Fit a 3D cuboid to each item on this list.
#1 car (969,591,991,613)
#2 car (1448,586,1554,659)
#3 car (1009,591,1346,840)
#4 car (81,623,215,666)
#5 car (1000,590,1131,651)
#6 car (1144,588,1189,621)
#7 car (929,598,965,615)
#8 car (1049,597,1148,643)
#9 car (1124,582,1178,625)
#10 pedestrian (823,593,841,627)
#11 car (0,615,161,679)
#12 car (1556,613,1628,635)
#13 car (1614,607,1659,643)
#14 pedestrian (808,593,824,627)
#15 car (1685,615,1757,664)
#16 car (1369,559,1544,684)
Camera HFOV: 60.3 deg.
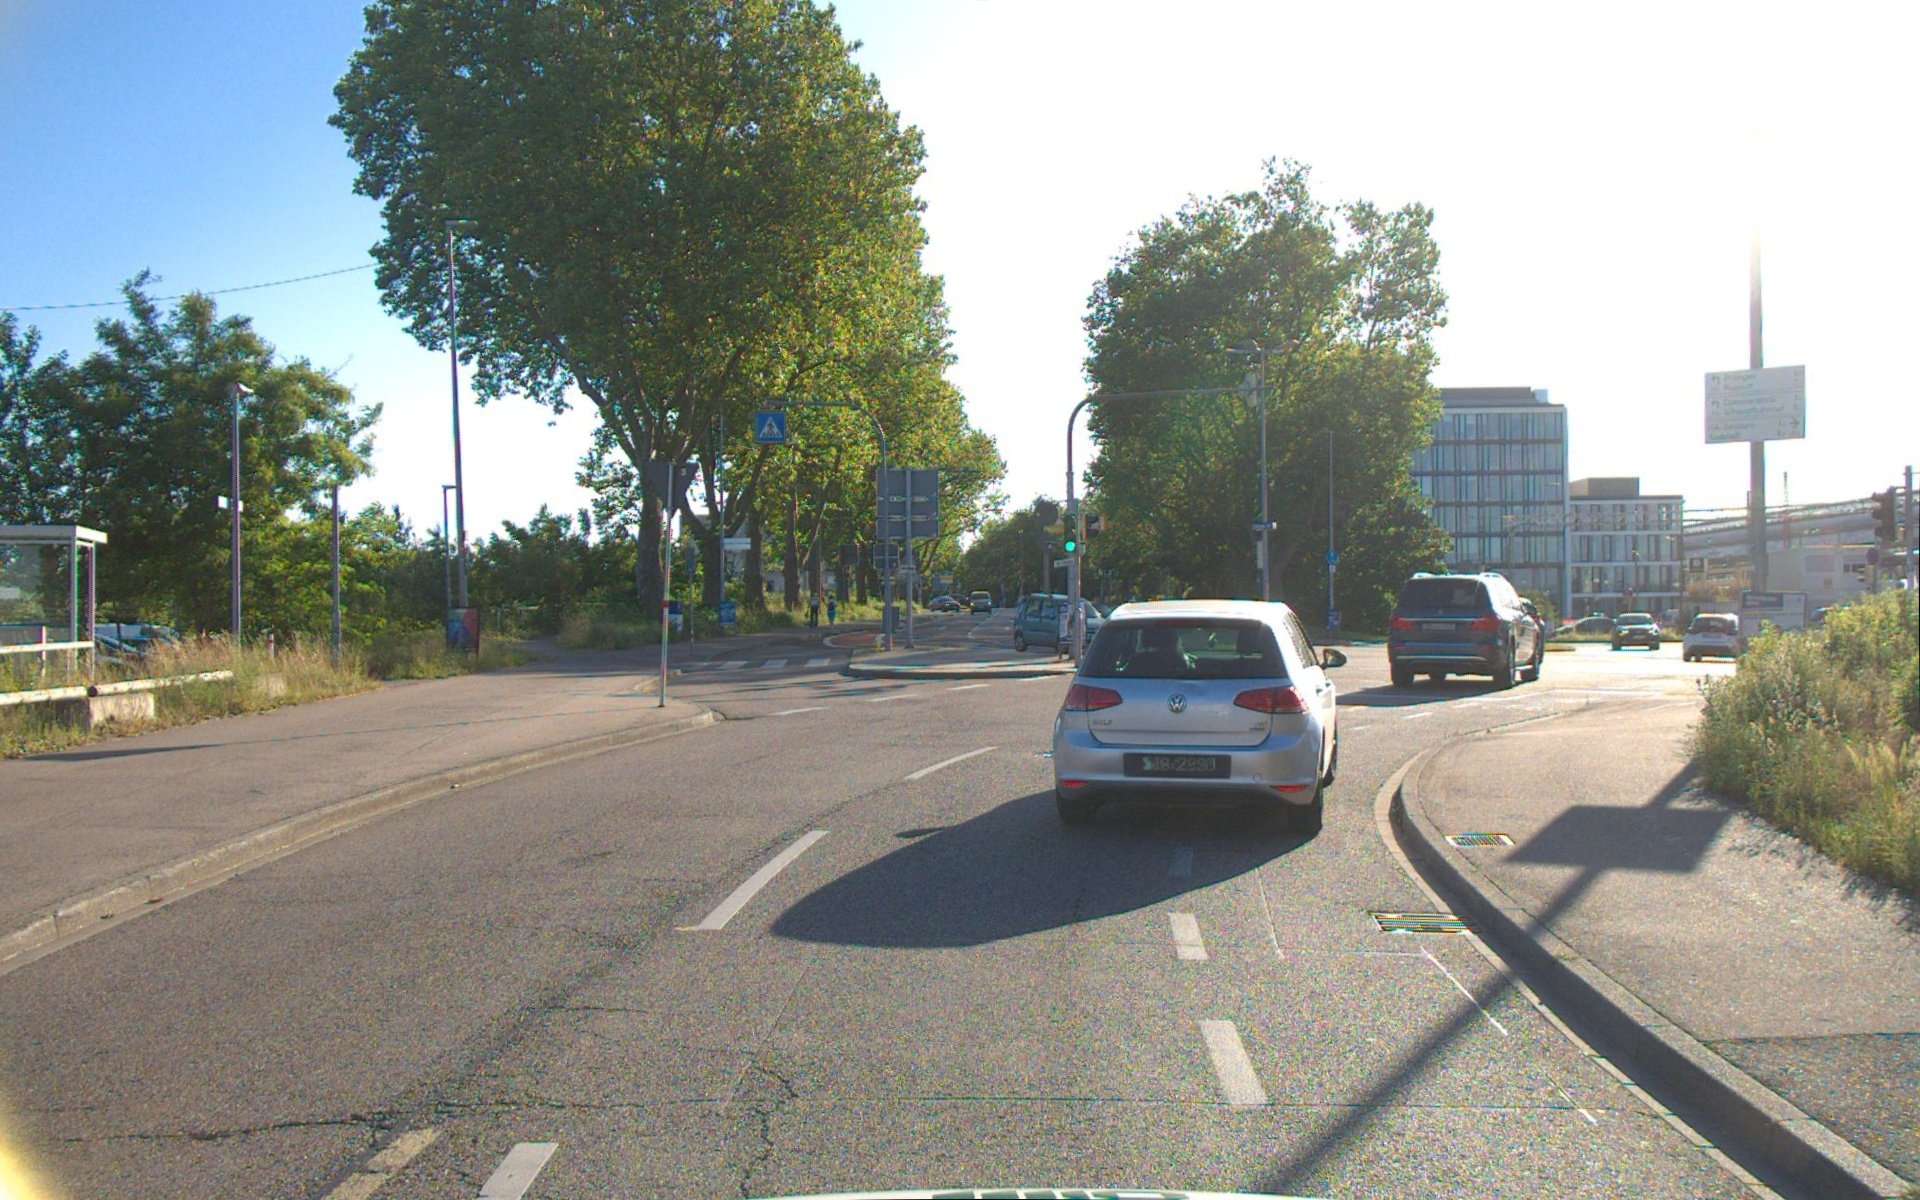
[{"bbox_3d":[1.675,0.183,139.441,1.815,1.774,4.266,0,0,1],"label":"car"},{"bbox_3d":[13.554,0.546,41.667,1.901,1.743,4.204,0,0,9],"label":"car"},{"bbox_3d":[1.717,0.680,11.789,1.928,1.452,3.940,0,0,14],"label":"car"},{"bbox_3d":[-35.453,1.933,72.326,4.844,1.795,2.000,0,0,0],"label":"car"},{"bbox_3d":[2.998,0.574,47.750,1.894,1.664,4.080,1,-1,-29],"label":"car"},{"bbox_3d":[11.067,0.245,88.742,1.816,1.679,4.265,0,0,-1],"label":"car"},{"bbox_3d":[-1.297,0.593,159.517,1.831,1.627,4.288,0,0,-26],"label":"car"},{"bbox_3d":[4.481,0.645,54.167,1.873,1.452,3.916,1,0,-18],"label":"car"},{"bbox_3d":[8.242,0.157,71.755,1.816,1.774,4.265,0,0,-1],"label":"car"},{"bbox_3d":[-6.024,0.462,77.982,0.713,1.620,0.805,0,0,3],"label":"pedestrian"},{"bbox_3d":[-21.880,1.131,40.538,3.927,1.485,1.720,0,0,-19],"label":"car"},{"bbox_3d":[55.027,2.105,144.079,5.591,1.877,1.915,0,0,-4],"label":"car"},{"bbox_3d":[29.331,1.061,71.632,1.713,1.502,3.998,0,0,23],"label":"car"},{"bbox_3d":[-6.827,0.468,78.398,0.649,1.614,0.631,0,0,3],"label":"pedestrian"},{"bbox_3d":[24.376,1.231,52.895,1.715,1.502,3.992,0,0,30],"label":"car"},{"bbox_3d":[8.495,0.349,27.984,2.071,1.920,4.807,0,-1,26],"label":"car"}]
